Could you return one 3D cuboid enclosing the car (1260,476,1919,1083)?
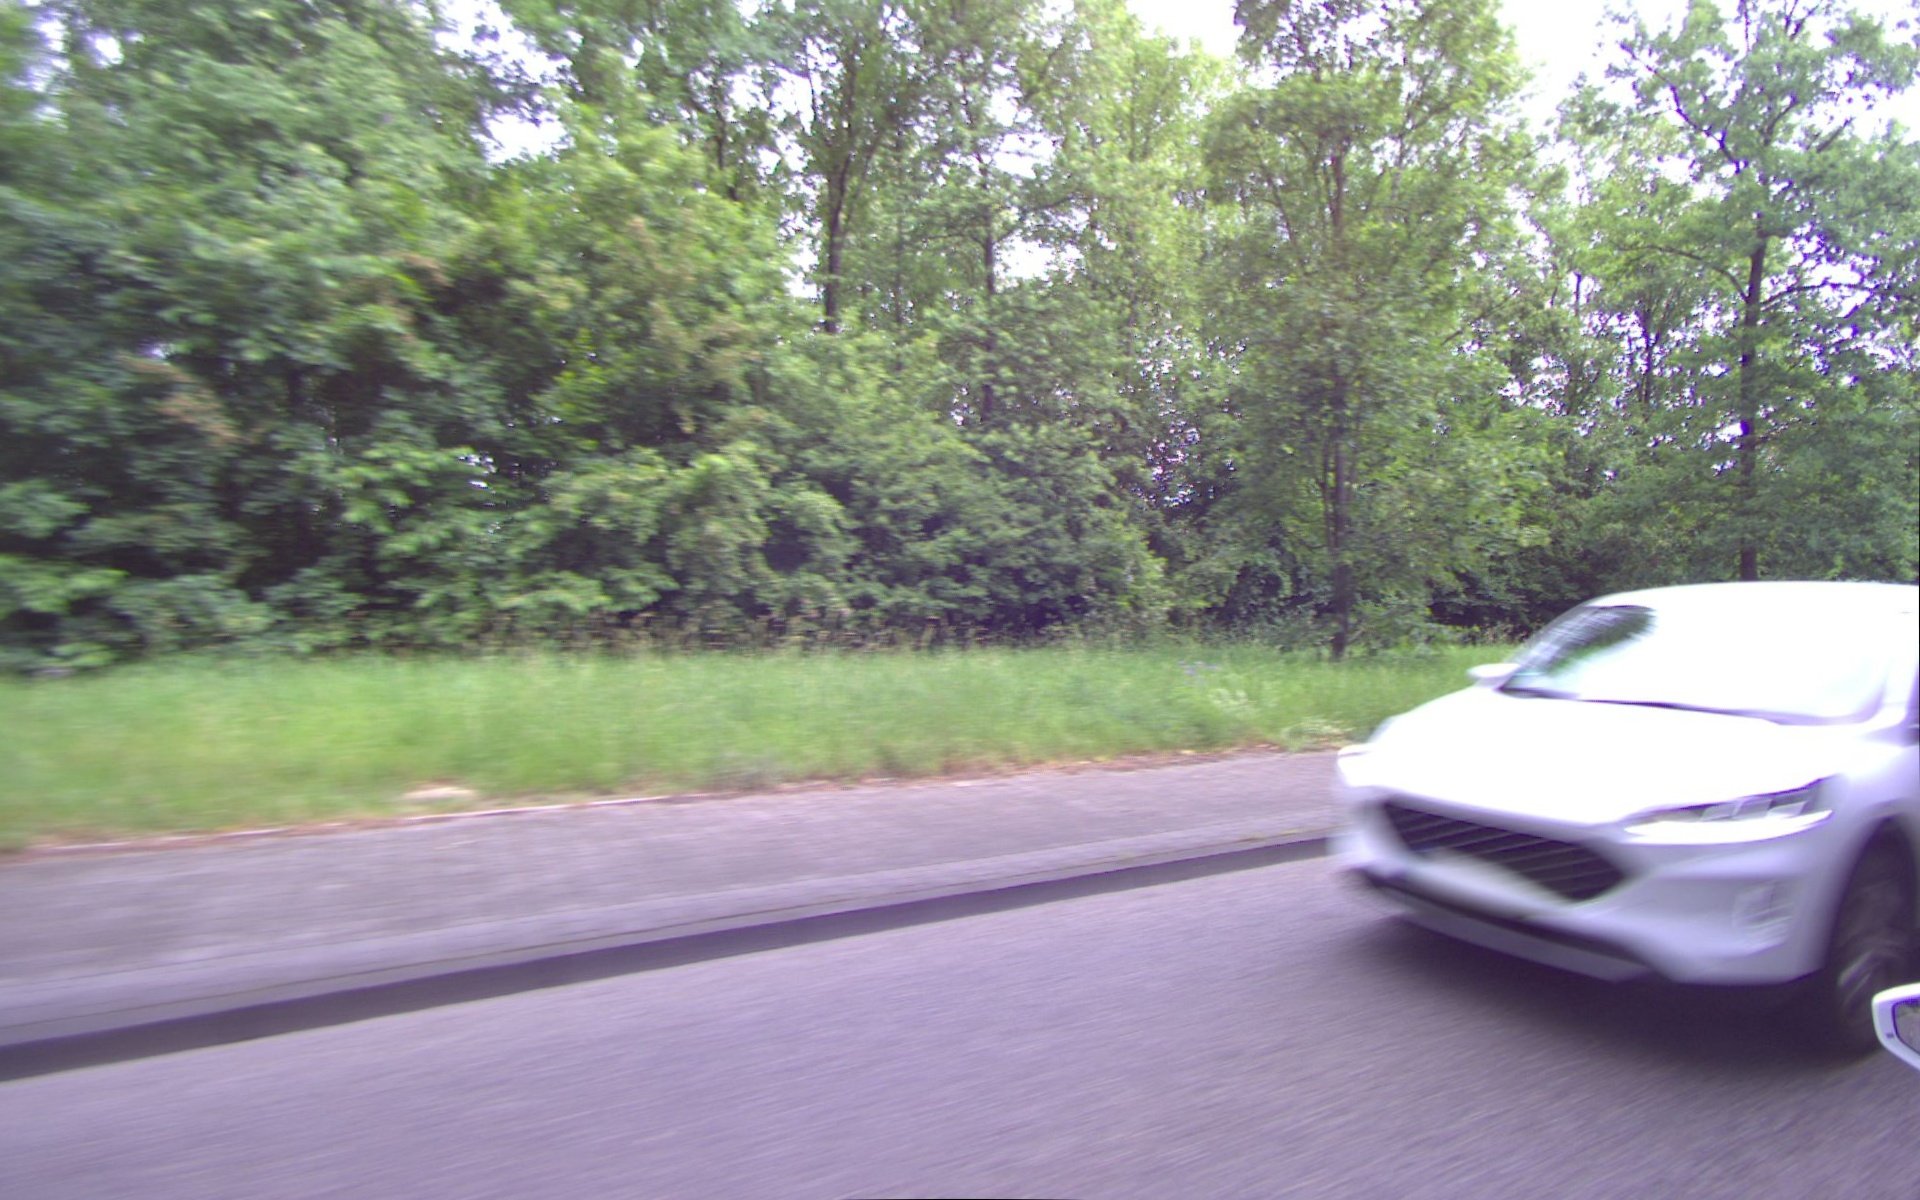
[{"bbox_3d":[3.944,0.582,4.990,4.725,1.776,1.984,2,0,-30],"label":"car"}]
